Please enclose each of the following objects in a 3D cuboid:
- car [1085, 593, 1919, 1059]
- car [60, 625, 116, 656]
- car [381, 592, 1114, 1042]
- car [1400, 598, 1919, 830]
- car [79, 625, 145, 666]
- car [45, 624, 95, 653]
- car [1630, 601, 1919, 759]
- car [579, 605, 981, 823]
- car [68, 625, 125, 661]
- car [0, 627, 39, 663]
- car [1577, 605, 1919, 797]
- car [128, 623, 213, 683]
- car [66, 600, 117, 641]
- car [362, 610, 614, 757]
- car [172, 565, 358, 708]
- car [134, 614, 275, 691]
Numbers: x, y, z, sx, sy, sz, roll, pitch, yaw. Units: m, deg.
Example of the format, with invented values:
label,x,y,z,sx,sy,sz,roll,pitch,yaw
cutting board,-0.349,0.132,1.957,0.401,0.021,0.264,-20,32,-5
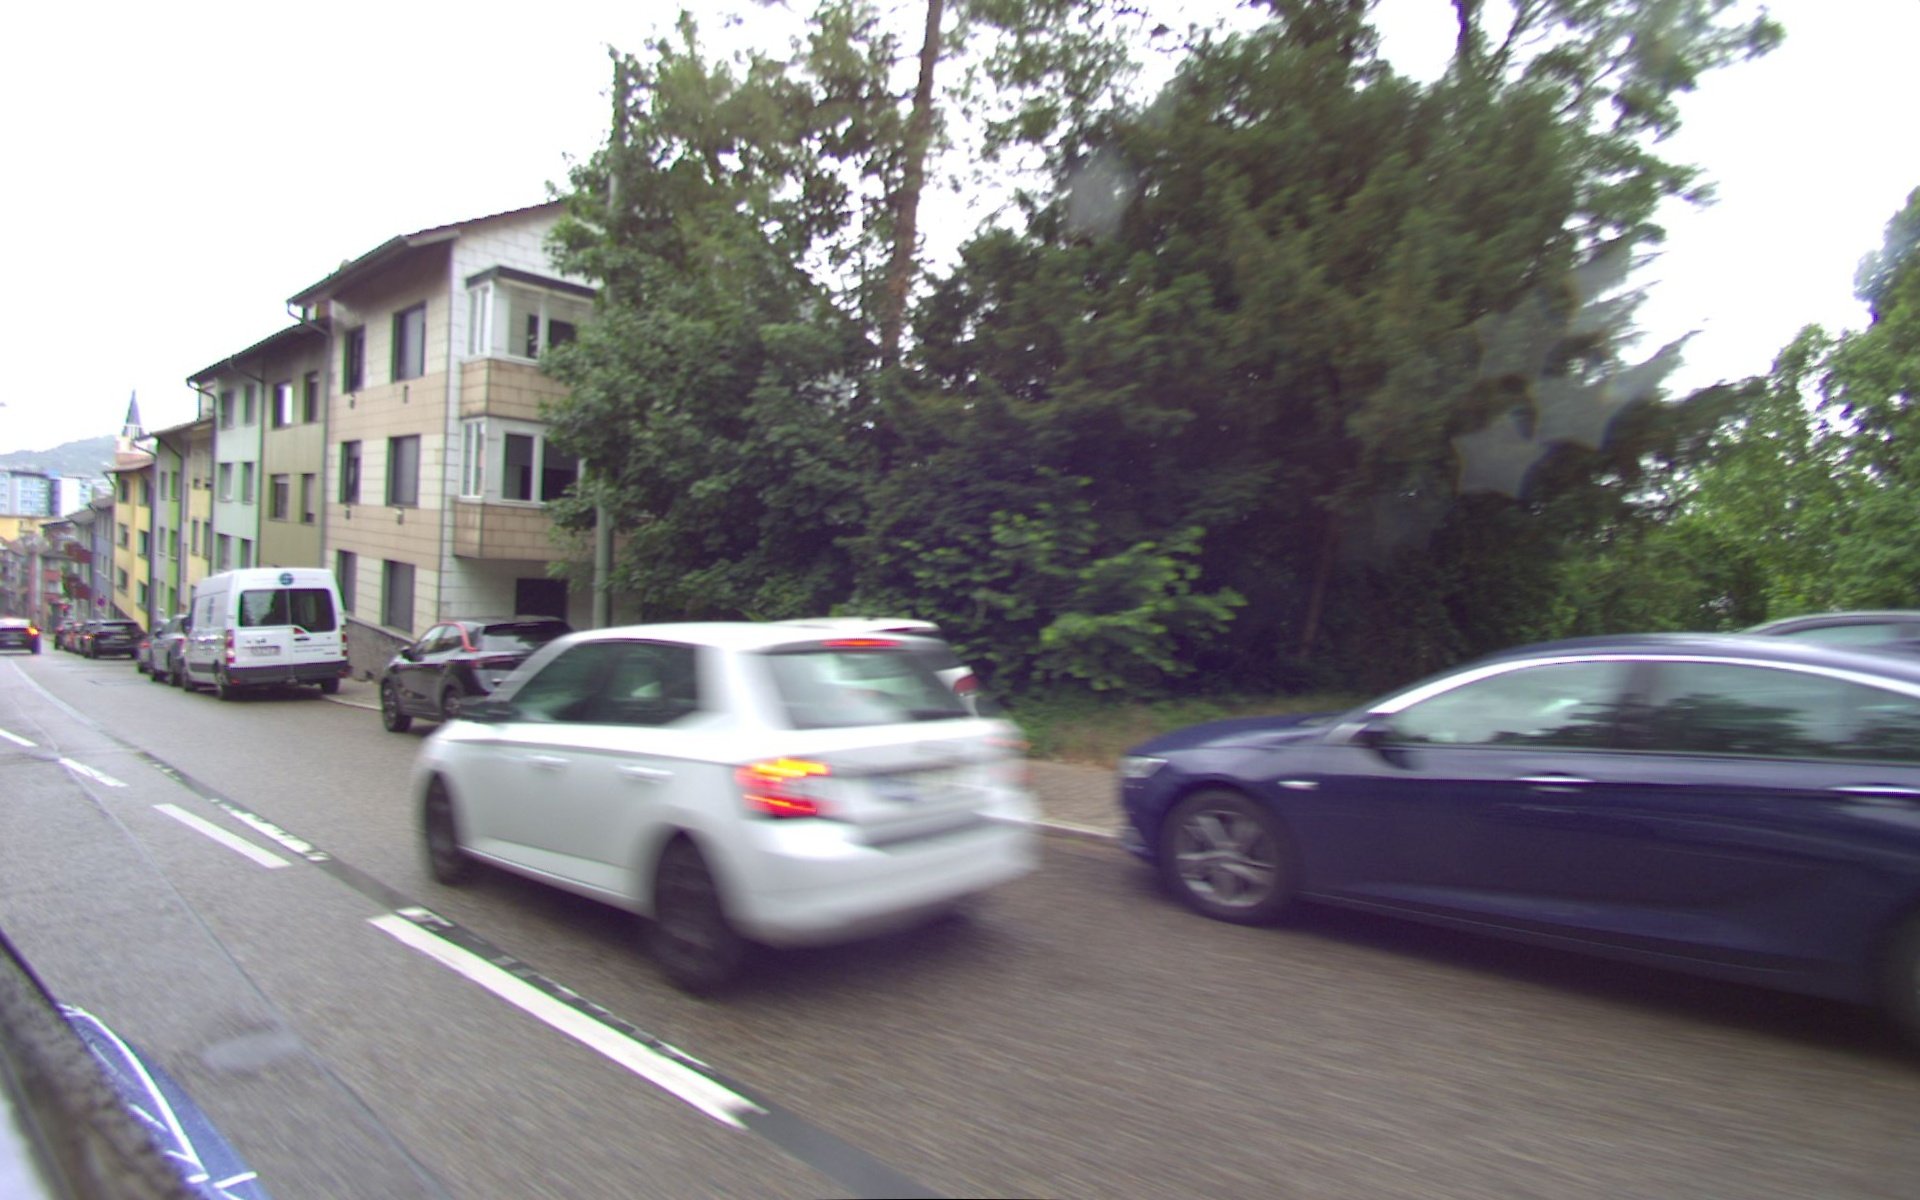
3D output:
label,x,y,z,sx,sy,sz,roll,pitch,yaw
car,3.065,0.811,4.587,4.754,1.505,1.840,-1,-5,42
car,-45.432,2.096,52.691,4.002,1.548,1.882,-1,-3,45
car,-1.328,0.780,5.237,3.911,1.446,1.706,-2,-4,42
car,5.920,0.752,7.712,4.396,1.470,1.704,-1,-2,43
car,-35.382,1.866,42.205,4.001,1.606,1.673,-1,-3,44
car,-52.433,2.255,59.617,4.330,1.669,1.882,-1,-3,45
car,9.358,0.756,10.102,4.242,1.470,1.578,-1,-2,43
car,-1.856,0.898,9.436,1.637,1.581,4.151,2,-3,-44
car,-40.827,2.022,47.826,1.664,1.606,4.057,3,-3,-45
car,-44.227,2.060,47.043,1.914,1.637,4.502,2,-2,-44
car,7.611,0.792,8.626,3.774,1.470,1.603,-1,-2,43
car,-23.256,1.514,29.743,1.395,1.627,4.385,3,-3,-45
car,-58.949,1.413,68.642,5.446,2.570,2.093,-2,-4,45
car,-6.305,1.003,13.278,1.625,1.616,4.188,4,-4,-45
car,-14.483,0.762,20.951,5.446,2.570,2.093,-2,-4,45
car,-18.979,1.287,25.339,4.885,1.753,1.944,-1,-4,43
